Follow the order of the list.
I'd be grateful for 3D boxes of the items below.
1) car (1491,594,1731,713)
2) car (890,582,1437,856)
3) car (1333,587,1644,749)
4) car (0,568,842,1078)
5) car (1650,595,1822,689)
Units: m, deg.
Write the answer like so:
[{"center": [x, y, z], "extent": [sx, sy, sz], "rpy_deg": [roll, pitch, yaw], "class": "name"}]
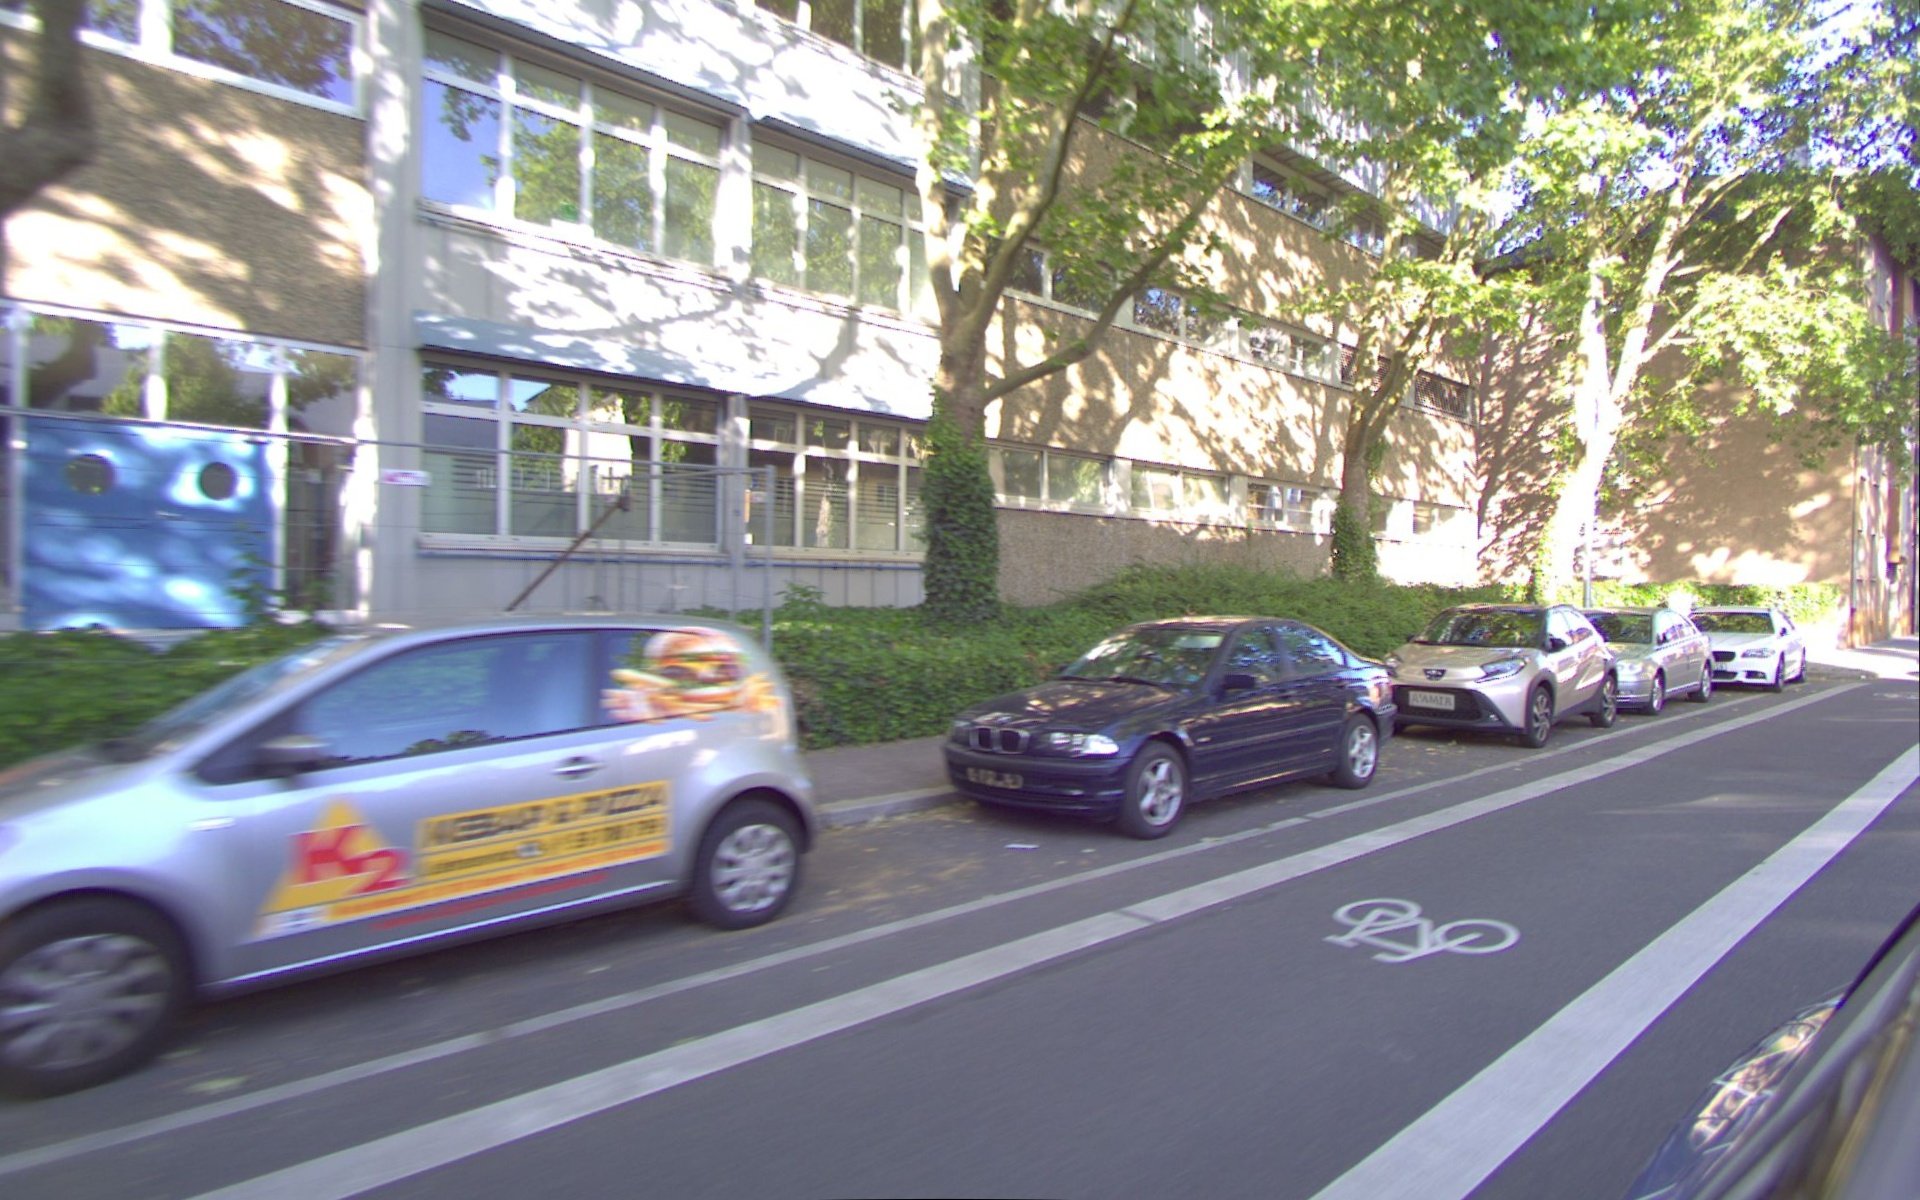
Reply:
[{"center": [9.687, 0.656, 14.911], "extent": [4.524, 1.455, 1.858], "rpy_deg": [-1, 1, -42], "class": "car"}, {"center": [1.805, 0.659, 7.901], "extent": [4.520, 1.542, 1.857], "rpy_deg": [-1, 0, -42], "class": "car"}, {"center": [6.289, 0.638, 11.835], "extent": [4.223, 1.542, 1.858], "rpy_deg": [-1, 0, -42], "class": "car"}, {"center": [-2.397, 0.655, 4.453], "extent": [3.433, 1.494, 1.615], "rpy_deg": [-1, -1, -42], "class": "car"}, {"center": [14.360, 0.657, 18.620], "extent": [4.889, 1.454, 1.856], "rpy_deg": [-1, 1, -44], "class": "car"}]
